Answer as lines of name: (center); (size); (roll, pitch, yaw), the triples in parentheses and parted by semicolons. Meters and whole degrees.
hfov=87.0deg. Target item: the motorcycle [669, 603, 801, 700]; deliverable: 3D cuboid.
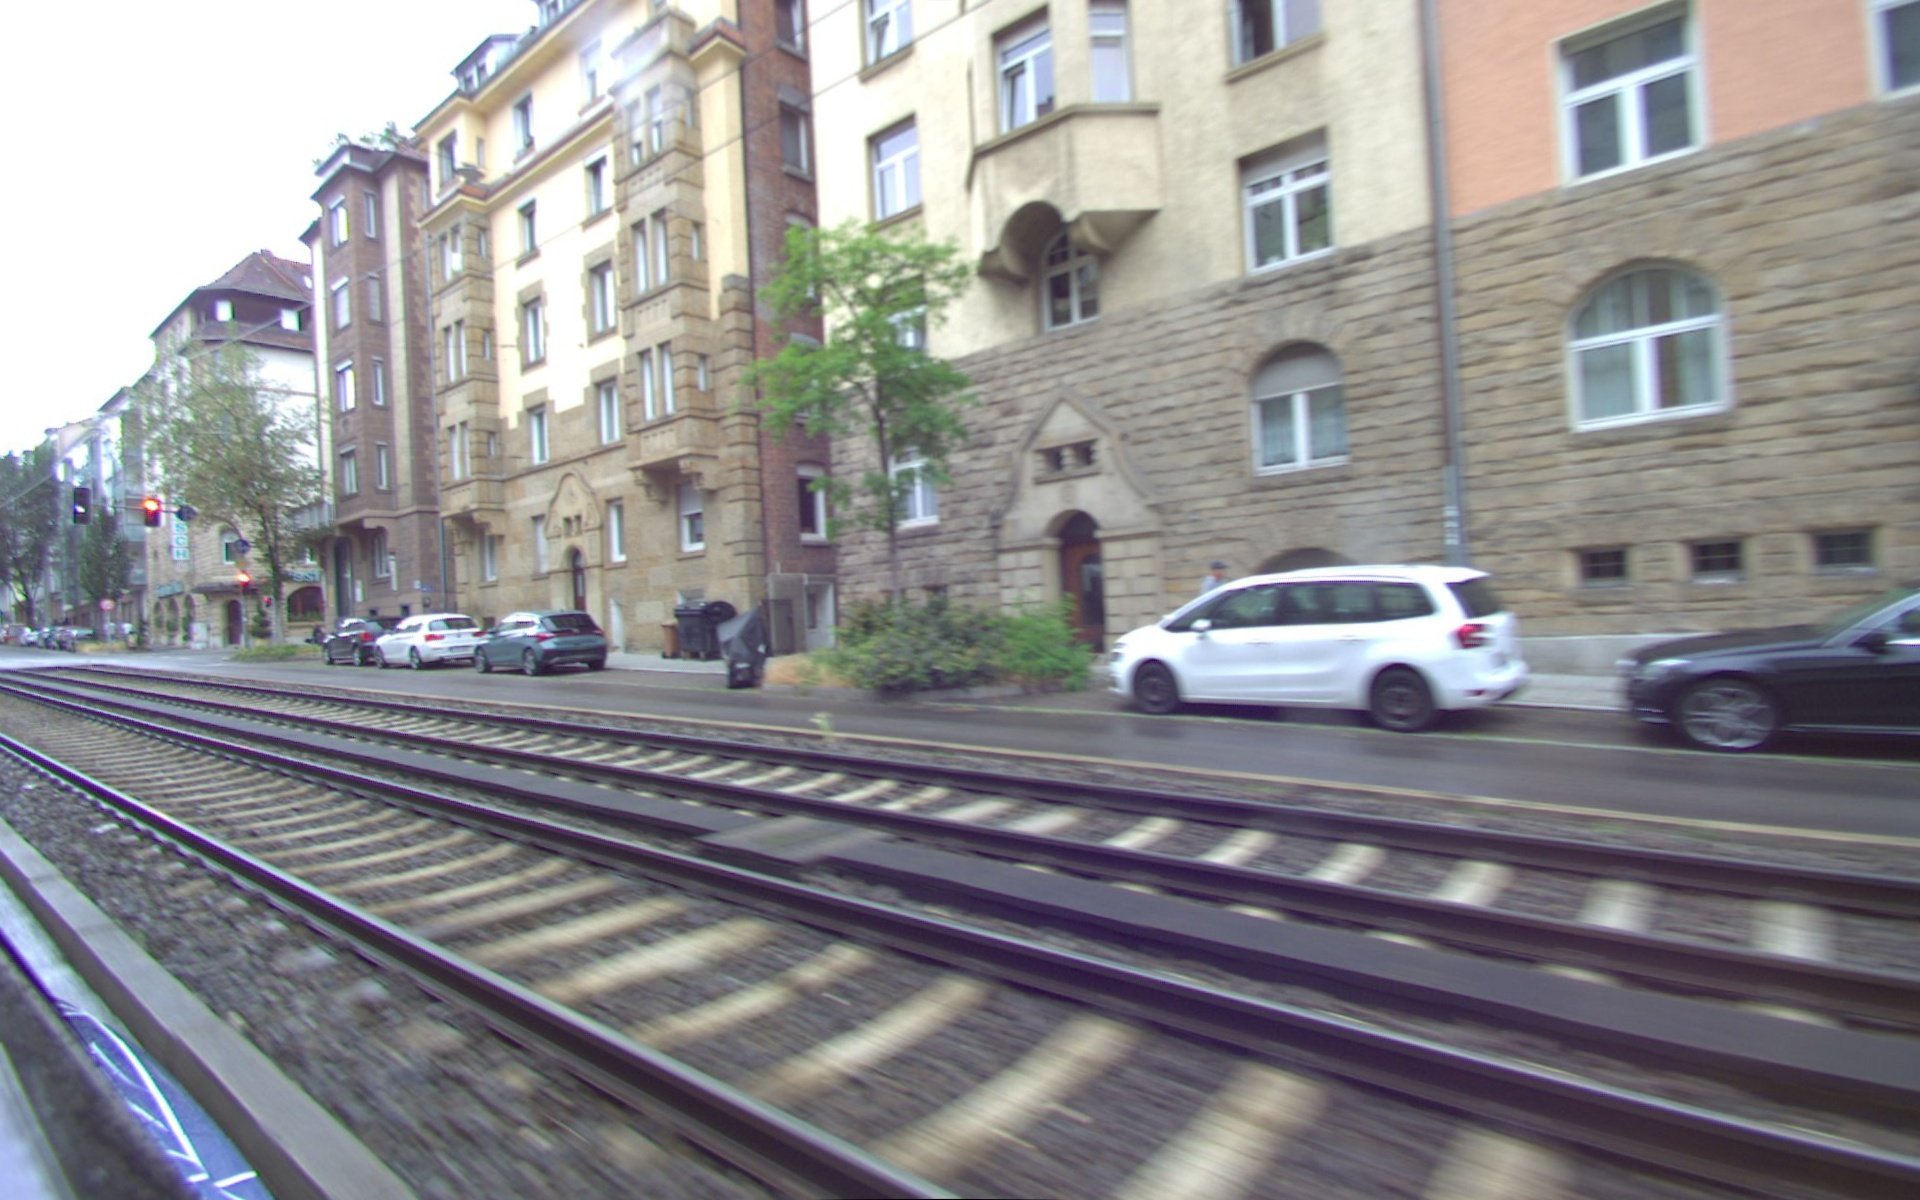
motorcycle: (-4.098, 0.910, 18.631); (1.285, 1.655, 2.249); (-2, -1, 23)

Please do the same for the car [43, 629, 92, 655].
car: (-56.637, 2.647, 64.192); (3.522, 1.509, 1.789); (-2, 0, 39)

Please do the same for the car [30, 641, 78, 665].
car: (-60.740, 3.528, 67.813); (4.427, 1.466, 1.783); (-2, 0, 40)

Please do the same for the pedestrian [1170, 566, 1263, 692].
pedestrian: (3.776, 0.405, 14.880); (0.924, 1.766, 0.997); (-2, 0, 41)

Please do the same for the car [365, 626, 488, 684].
car: (-14.728, 1.476, 27.835); (4.261, 1.436, 1.649); (-2, -1, 42)

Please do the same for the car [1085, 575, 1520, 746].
car: (3.783, 0.629, 11.486); (4.339, 1.601, 1.770); (-2, -1, 34)

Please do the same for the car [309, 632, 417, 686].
car: (-18.529, 1.783, 31.344); (3.998, 1.497, 1.746); (-1, -1, 42)

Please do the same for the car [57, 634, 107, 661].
car: (-53.300, 2.869, 61.409); (3.892, 1.564, 1.747); (-2, -1, 40)

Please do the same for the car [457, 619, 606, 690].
car: (-10.177, 1.242, 23.886); (4.143, 1.448, 1.545); (-2, 1, 41)

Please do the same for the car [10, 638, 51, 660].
car: (-67.364, 3.532, 73.324); (4.128, 1.345, 1.685); (-2, 2, 41)

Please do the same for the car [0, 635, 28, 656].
car: (-75.958, 3.583, 80.826); (4.155, 1.581, 1.758); (-2, -1, 40)

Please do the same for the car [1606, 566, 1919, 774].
car: (8.220, 0.490, 8.066); (4.968, 1.521, 1.974); (-3, 1, 39)

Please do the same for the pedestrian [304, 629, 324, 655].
pedestrian: (-36.661, 2.397, 57.401); (0.721, 1.426, 0.808); (-2, -1, 44)

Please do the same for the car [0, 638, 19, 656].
car: (-81.321, 4.013, 85.630); (4.465, 1.451, 1.887); (-2, -1, 40)
